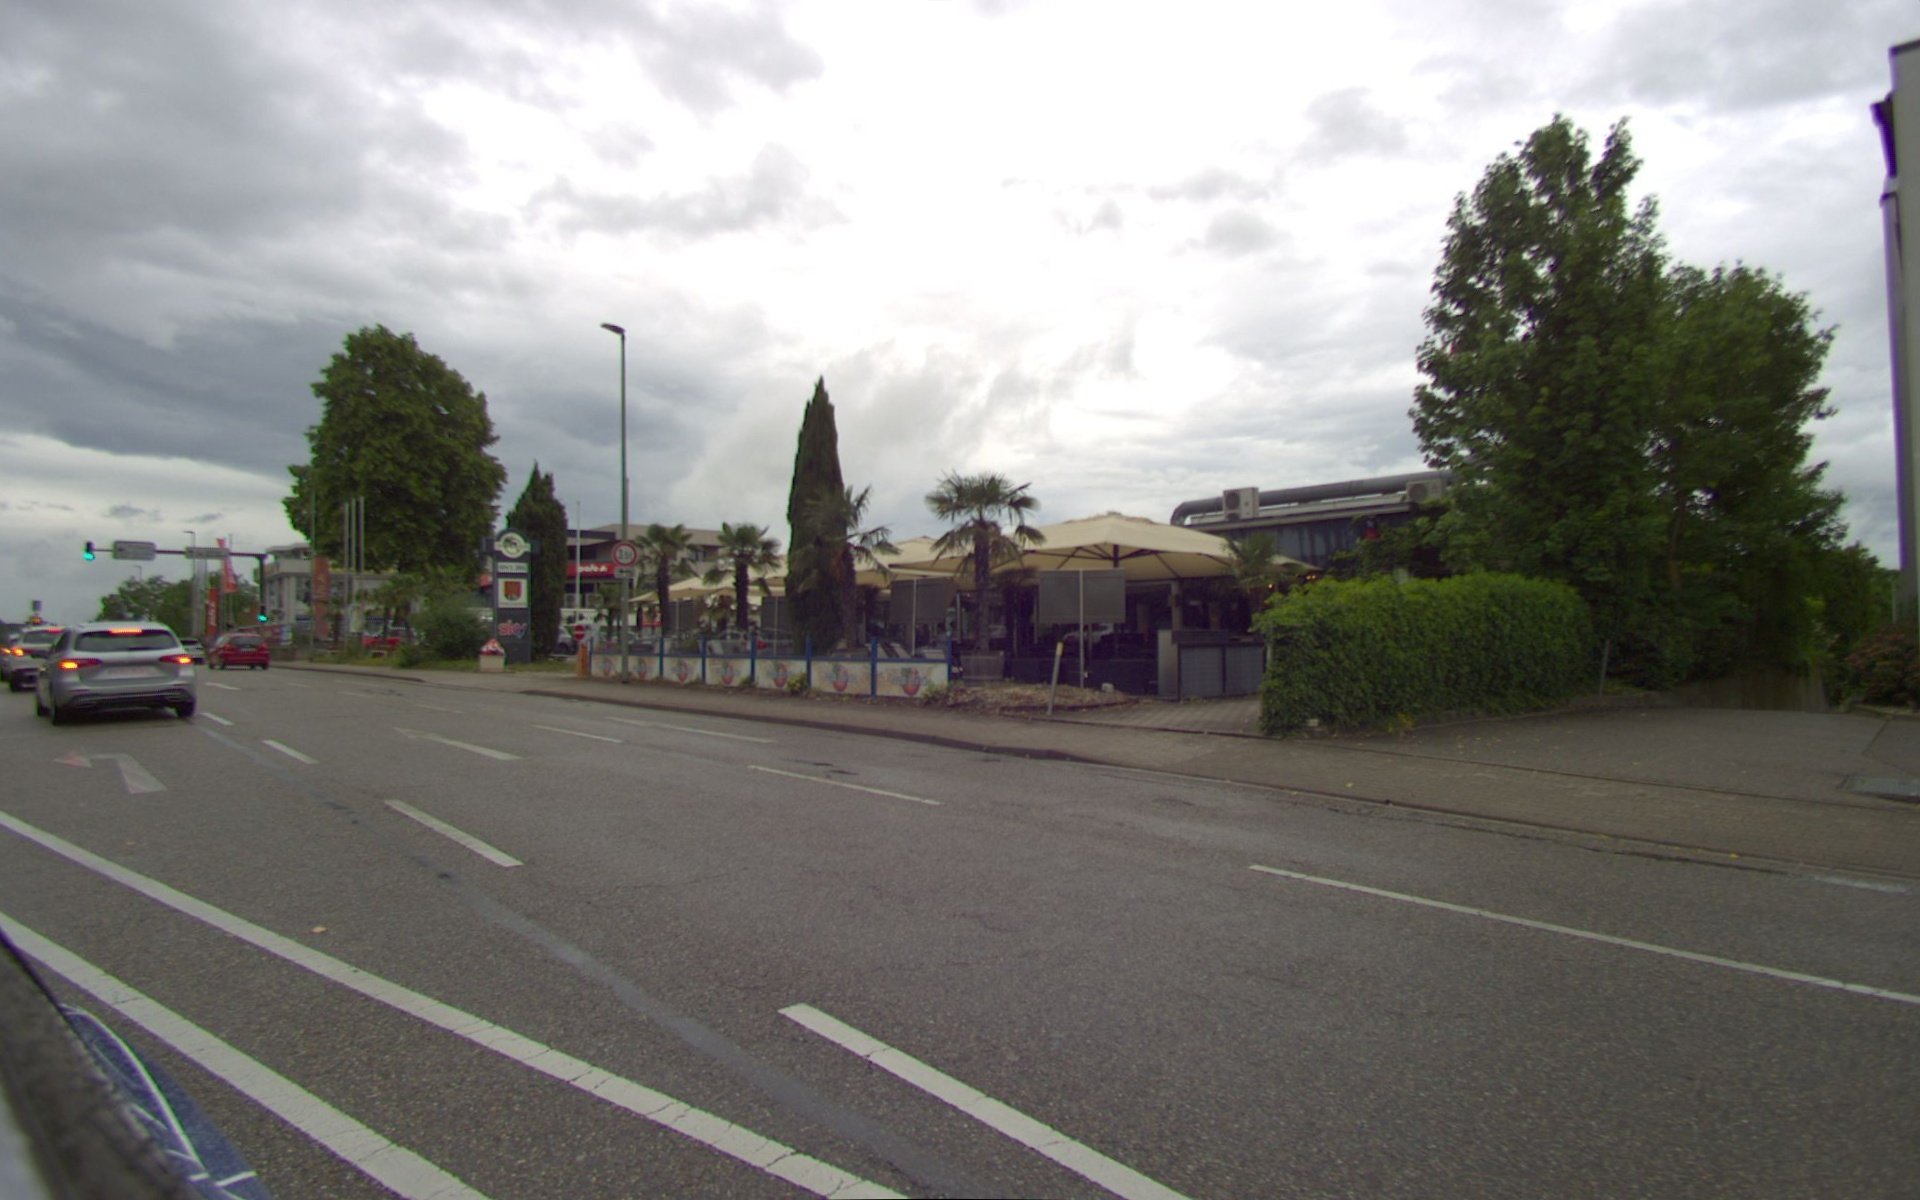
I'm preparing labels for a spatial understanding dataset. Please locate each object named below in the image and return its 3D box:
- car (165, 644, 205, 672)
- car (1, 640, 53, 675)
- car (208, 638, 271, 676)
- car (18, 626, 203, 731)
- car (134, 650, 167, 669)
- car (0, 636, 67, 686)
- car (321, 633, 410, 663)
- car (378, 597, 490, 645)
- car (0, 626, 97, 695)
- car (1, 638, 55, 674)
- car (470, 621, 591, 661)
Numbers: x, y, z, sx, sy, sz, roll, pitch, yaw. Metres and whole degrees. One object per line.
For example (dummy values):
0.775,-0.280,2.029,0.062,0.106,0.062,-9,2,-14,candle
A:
-42.701,3.167,55.712,1.616,1.489,4.052,1,-3,-39,car
-46.207,2.864,50.116,1.817,1.662,4.301,1,-4,-43,car
-30.748,2.410,43.150,1.617,1.545,3.976,3,-4,-43,car
-14.132,1.200,16.749,4.300,1.519,1.731,-2,-2,42,car
-60.076,4.425,75.116,1.603,1.342,3.950,3,-5,-43,car
-29.543,1.895,32.221,1.583,1.452,3.952,0,-1,-43,car
-30.516,2.468,52.041,3.558,1.515,1.670,1,-2,-13,car
-24.051,1.022,46.486,1.984,2.029,4.371,-1,-4,19,car
-23.410,1.500,25.906,1.766,1.593,4.242,1,-2,-44,car
-39.644,2.329,43.044,1.612,1.445,4.148,1,-2,-43,car
-17.431,1.697,41.314,1.987,1.475,4.333,1,-3,23,car
